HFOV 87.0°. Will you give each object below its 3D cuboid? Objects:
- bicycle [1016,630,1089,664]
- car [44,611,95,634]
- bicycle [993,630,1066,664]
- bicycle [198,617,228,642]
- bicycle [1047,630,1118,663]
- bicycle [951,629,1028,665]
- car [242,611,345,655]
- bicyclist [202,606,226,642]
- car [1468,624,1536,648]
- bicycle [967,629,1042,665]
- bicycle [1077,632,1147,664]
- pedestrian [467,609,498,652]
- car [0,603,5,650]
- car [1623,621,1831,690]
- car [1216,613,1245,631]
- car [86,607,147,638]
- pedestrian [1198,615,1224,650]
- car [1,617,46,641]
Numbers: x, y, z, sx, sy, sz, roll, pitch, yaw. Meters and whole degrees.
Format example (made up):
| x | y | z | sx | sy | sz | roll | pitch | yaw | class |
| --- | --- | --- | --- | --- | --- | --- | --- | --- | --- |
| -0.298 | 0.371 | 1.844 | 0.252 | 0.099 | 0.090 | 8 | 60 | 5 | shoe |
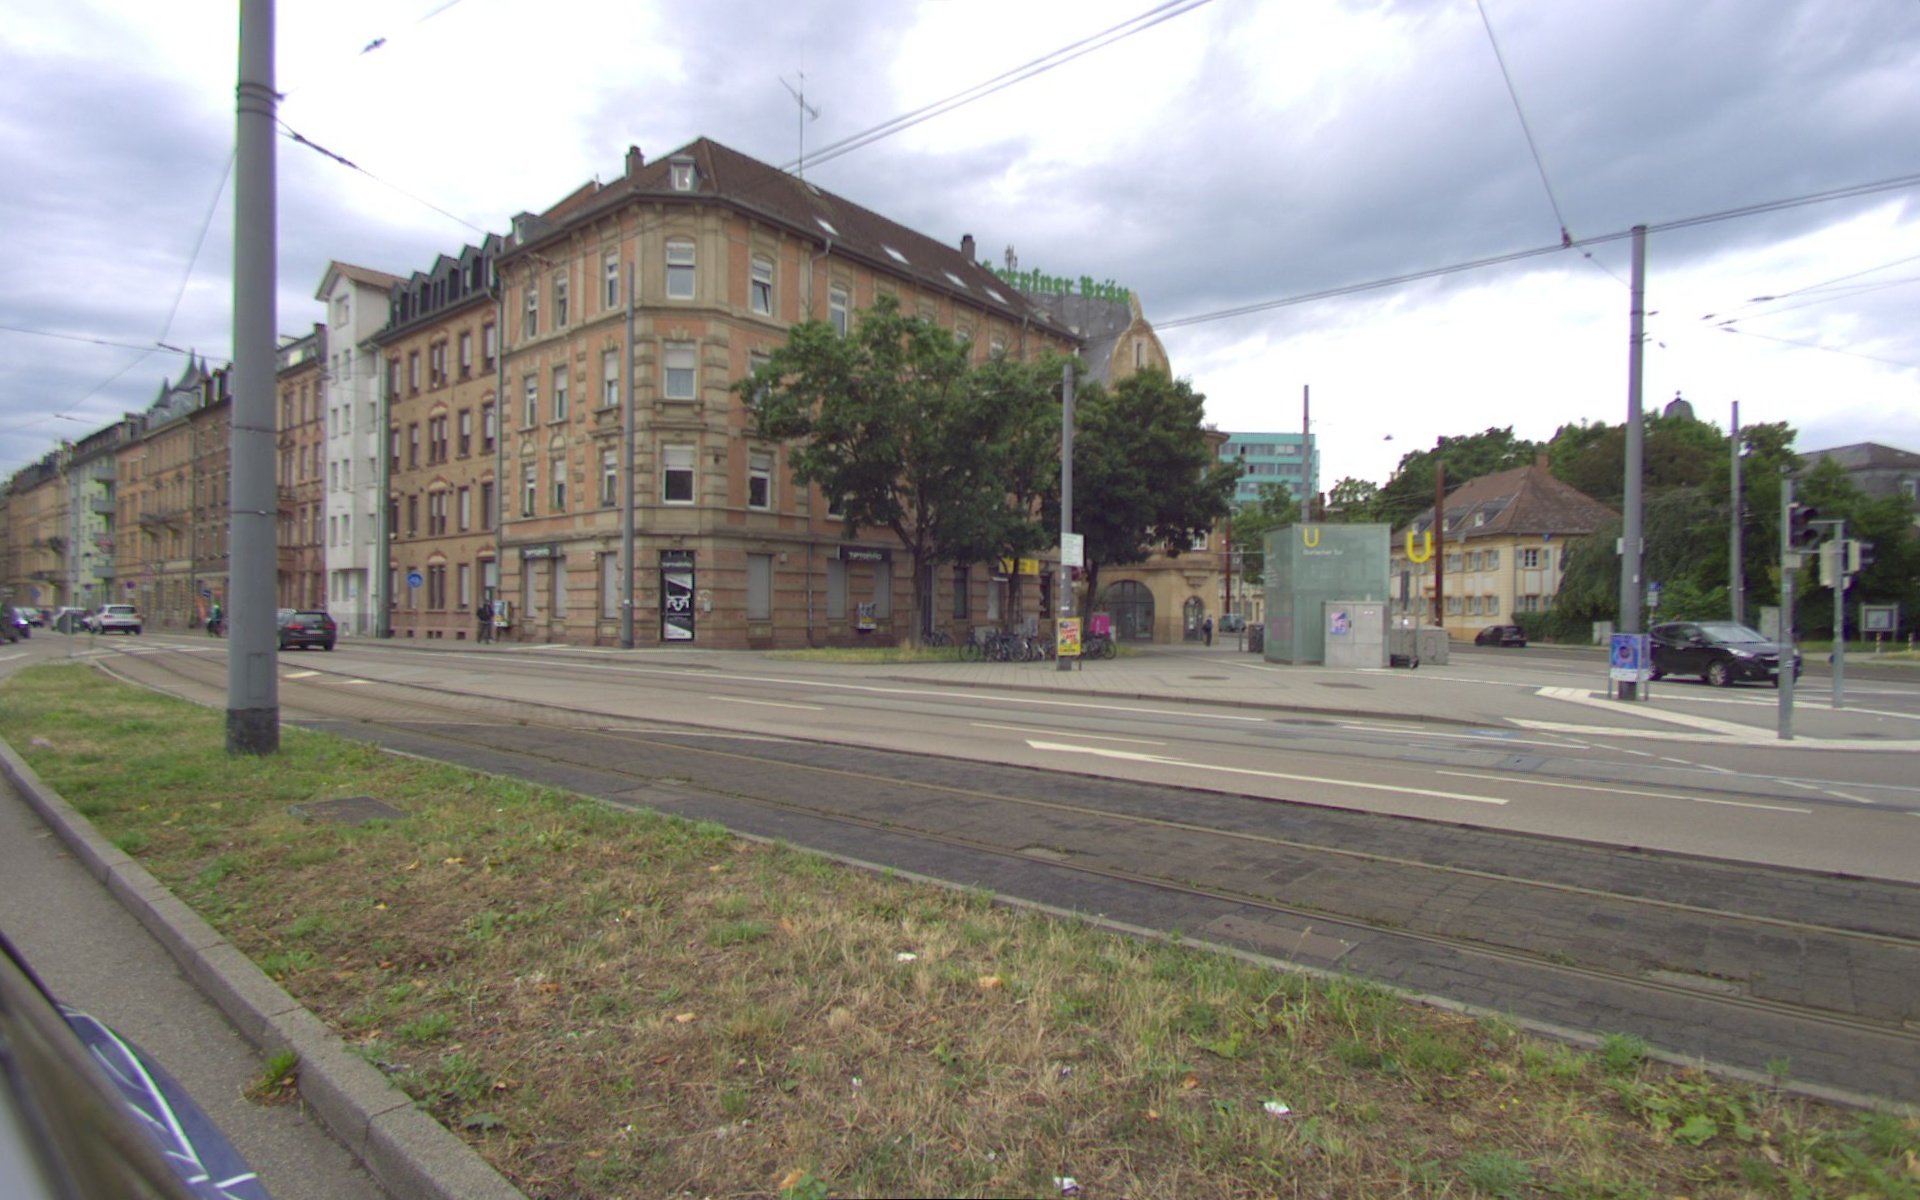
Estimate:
| x | y | z | sx | sy | sz | roll | pitch | yaw | class |
| --- | --- | --- | --- | --- | --- | --- | --- | --- | --- |
| 3.028 | 1.533 | 33.212 | 2.395 | 1.038 | 0.744 | 0 | -1 | 41 | bicycle |
| -56.989 | 1.439 | 64.782 | 4.013 | 1.442 | 1.792 | 0 | -1 | 39 | car |
| 2.210 | 1.490 | 32.487 | 2.395 | 1.038 | 0.744 | 0 | -1 | 41 | bicycle |
| -39.813 | 1.552 | 53.930 | 2.410 | 1.302 | 0.788 | -1 | -1 | 41 | bicycle |
| 4.153 | 1.554 | 34.362 | 2.395 | 1.038 | 0.744 | 0 | -1 | 41 | bicycle |
| 0.878 | 1.431 | 31.049 | 2.395 | 1.038 | 0.826 | 0 | -1 | 41 | bicycle |
| -24.186 | 1.160 | 36.677 | 4.459 | 1.481 | 1.865 | 0 | -1 | 39 | car |
| -39.697 | 1.257 | 53.849 | 0.923 | 1.881 | 0.813 | -1 | -1 | 41 | bicyclist |
| 33.878 | 2.221 | 63.410 | 1.971 | 1.442 | 4.001 | 0 | -1 | -2 | car |
| 1.380 | 1.451 | 31.635 | 2.395 | 1.038 | 0.744 | 0 | -1 | 41 | bicycle |
| 5.277 | 1.651 | 35.178 | 2.395 | 1.038 | 0.744 | 0 | -1 | 41 | bicycle |
| -18.748 | 1.193 | 39.742 | 0.797 | 1.688 | 0.802 | 0 | -1 | 37 | pedestrian |
| -38.958 | 1.014 | 39.403 | 5.130 | 1.768 | 2.340 | -1 | -2 | 44 | car |
| 20.041 | 1.397 | 26.719 | 1.969 | 1.623 | 4.251 | 0 | -1 | -6 | car |
| 29.689 | 2.416 | 111.130 | 1.971 | 1.863 | 4.001 | 0 | -1 | -2 | car |
| -47.300 | 1.256 | 56.740 | 4.226 | 1.657 | 1.812 | 0 | -1 | 39 | car |
| 13.772 | 1.765 | 55.537 | 1.083 | 1.911 | 1.139 | 0 | -1 | 34 | pedestrian |
| -69.905 | 2.135 | 75.494 | 4.229 | 1.715 | 1.873 | 0 | -1 | 39 | car |
